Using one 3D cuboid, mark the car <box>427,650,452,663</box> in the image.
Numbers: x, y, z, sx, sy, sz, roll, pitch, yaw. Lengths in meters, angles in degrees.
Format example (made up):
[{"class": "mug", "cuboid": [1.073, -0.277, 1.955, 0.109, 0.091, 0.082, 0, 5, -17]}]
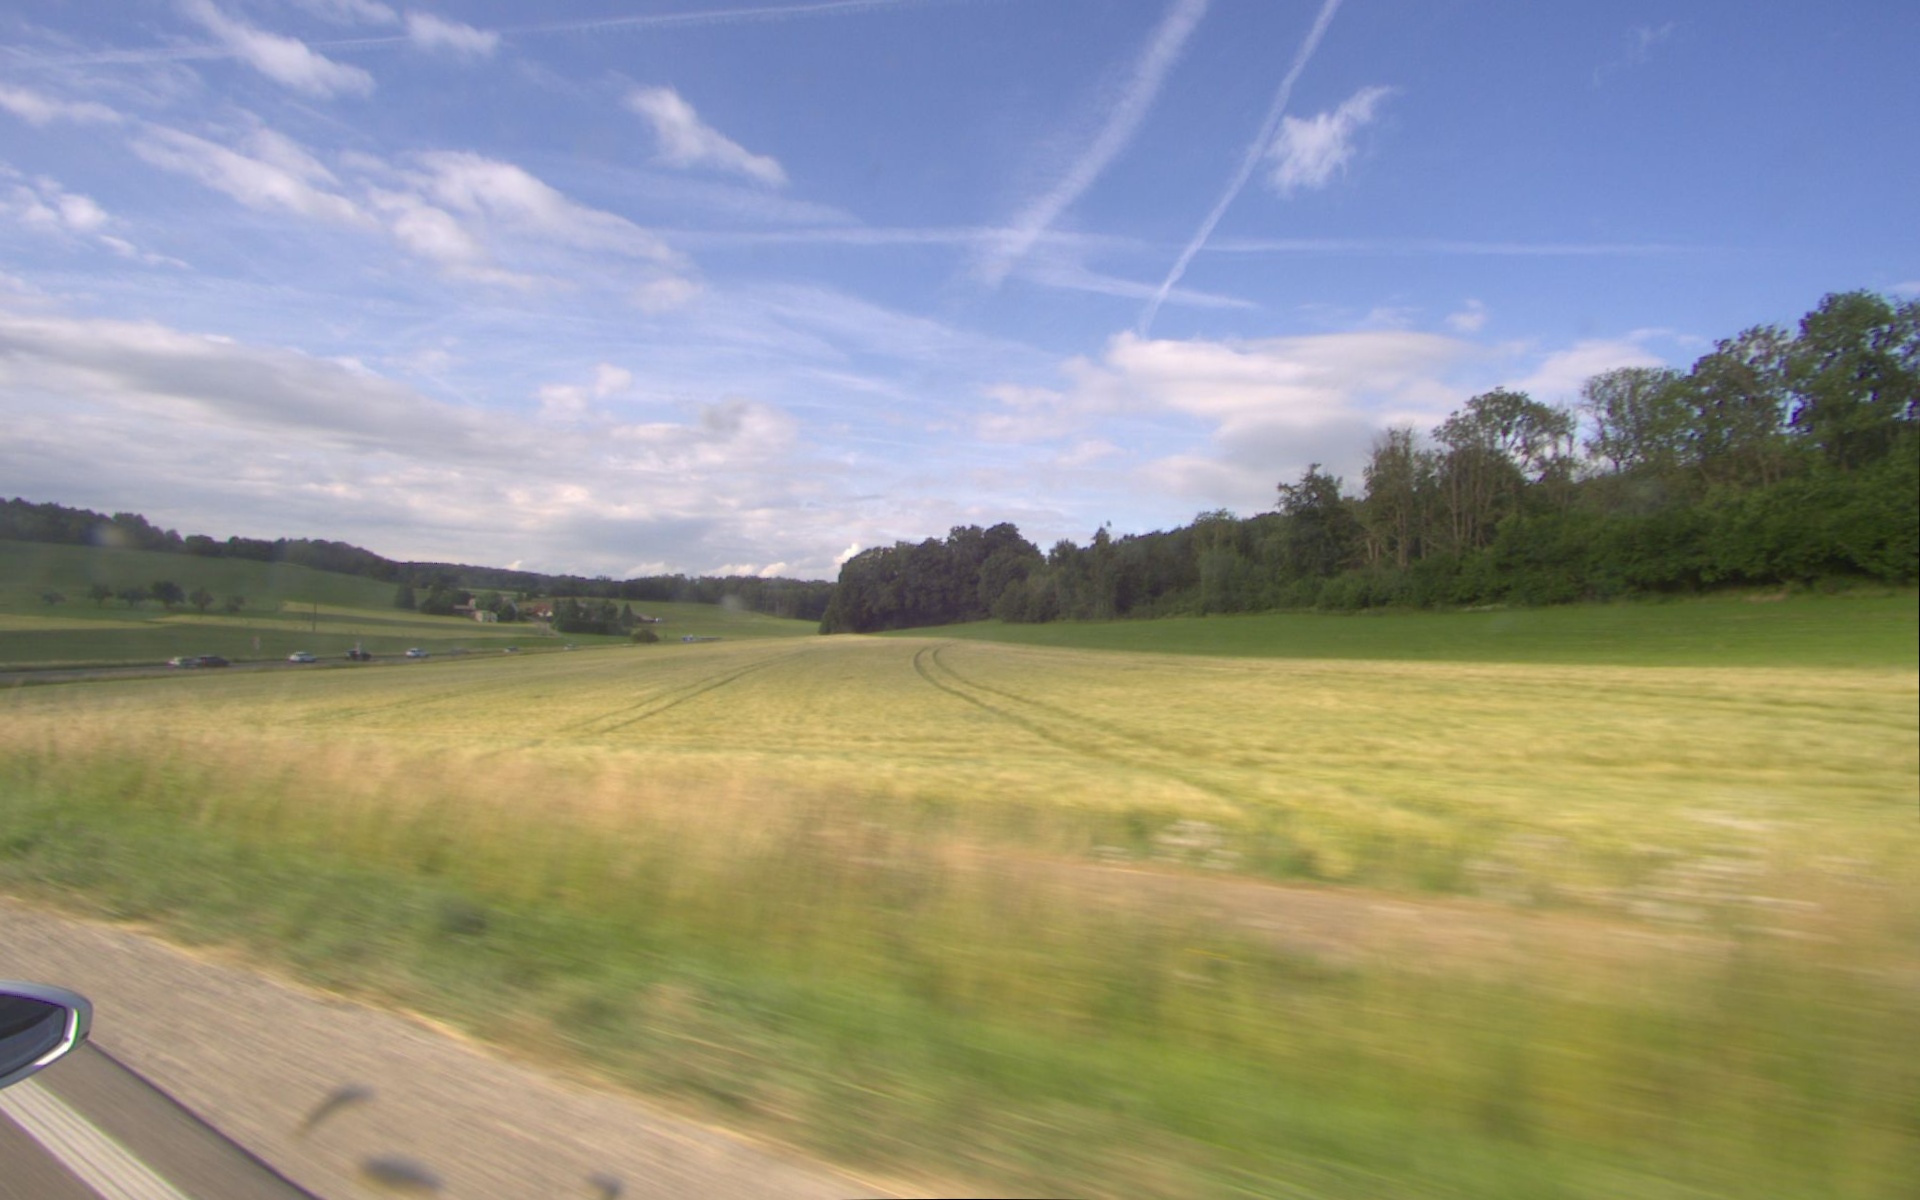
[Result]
[{"class": "car", "cuboid": [-89.266, 9.643, 171.833, 1.961, 2.039, 4.001, -1, -1, 3]}]
